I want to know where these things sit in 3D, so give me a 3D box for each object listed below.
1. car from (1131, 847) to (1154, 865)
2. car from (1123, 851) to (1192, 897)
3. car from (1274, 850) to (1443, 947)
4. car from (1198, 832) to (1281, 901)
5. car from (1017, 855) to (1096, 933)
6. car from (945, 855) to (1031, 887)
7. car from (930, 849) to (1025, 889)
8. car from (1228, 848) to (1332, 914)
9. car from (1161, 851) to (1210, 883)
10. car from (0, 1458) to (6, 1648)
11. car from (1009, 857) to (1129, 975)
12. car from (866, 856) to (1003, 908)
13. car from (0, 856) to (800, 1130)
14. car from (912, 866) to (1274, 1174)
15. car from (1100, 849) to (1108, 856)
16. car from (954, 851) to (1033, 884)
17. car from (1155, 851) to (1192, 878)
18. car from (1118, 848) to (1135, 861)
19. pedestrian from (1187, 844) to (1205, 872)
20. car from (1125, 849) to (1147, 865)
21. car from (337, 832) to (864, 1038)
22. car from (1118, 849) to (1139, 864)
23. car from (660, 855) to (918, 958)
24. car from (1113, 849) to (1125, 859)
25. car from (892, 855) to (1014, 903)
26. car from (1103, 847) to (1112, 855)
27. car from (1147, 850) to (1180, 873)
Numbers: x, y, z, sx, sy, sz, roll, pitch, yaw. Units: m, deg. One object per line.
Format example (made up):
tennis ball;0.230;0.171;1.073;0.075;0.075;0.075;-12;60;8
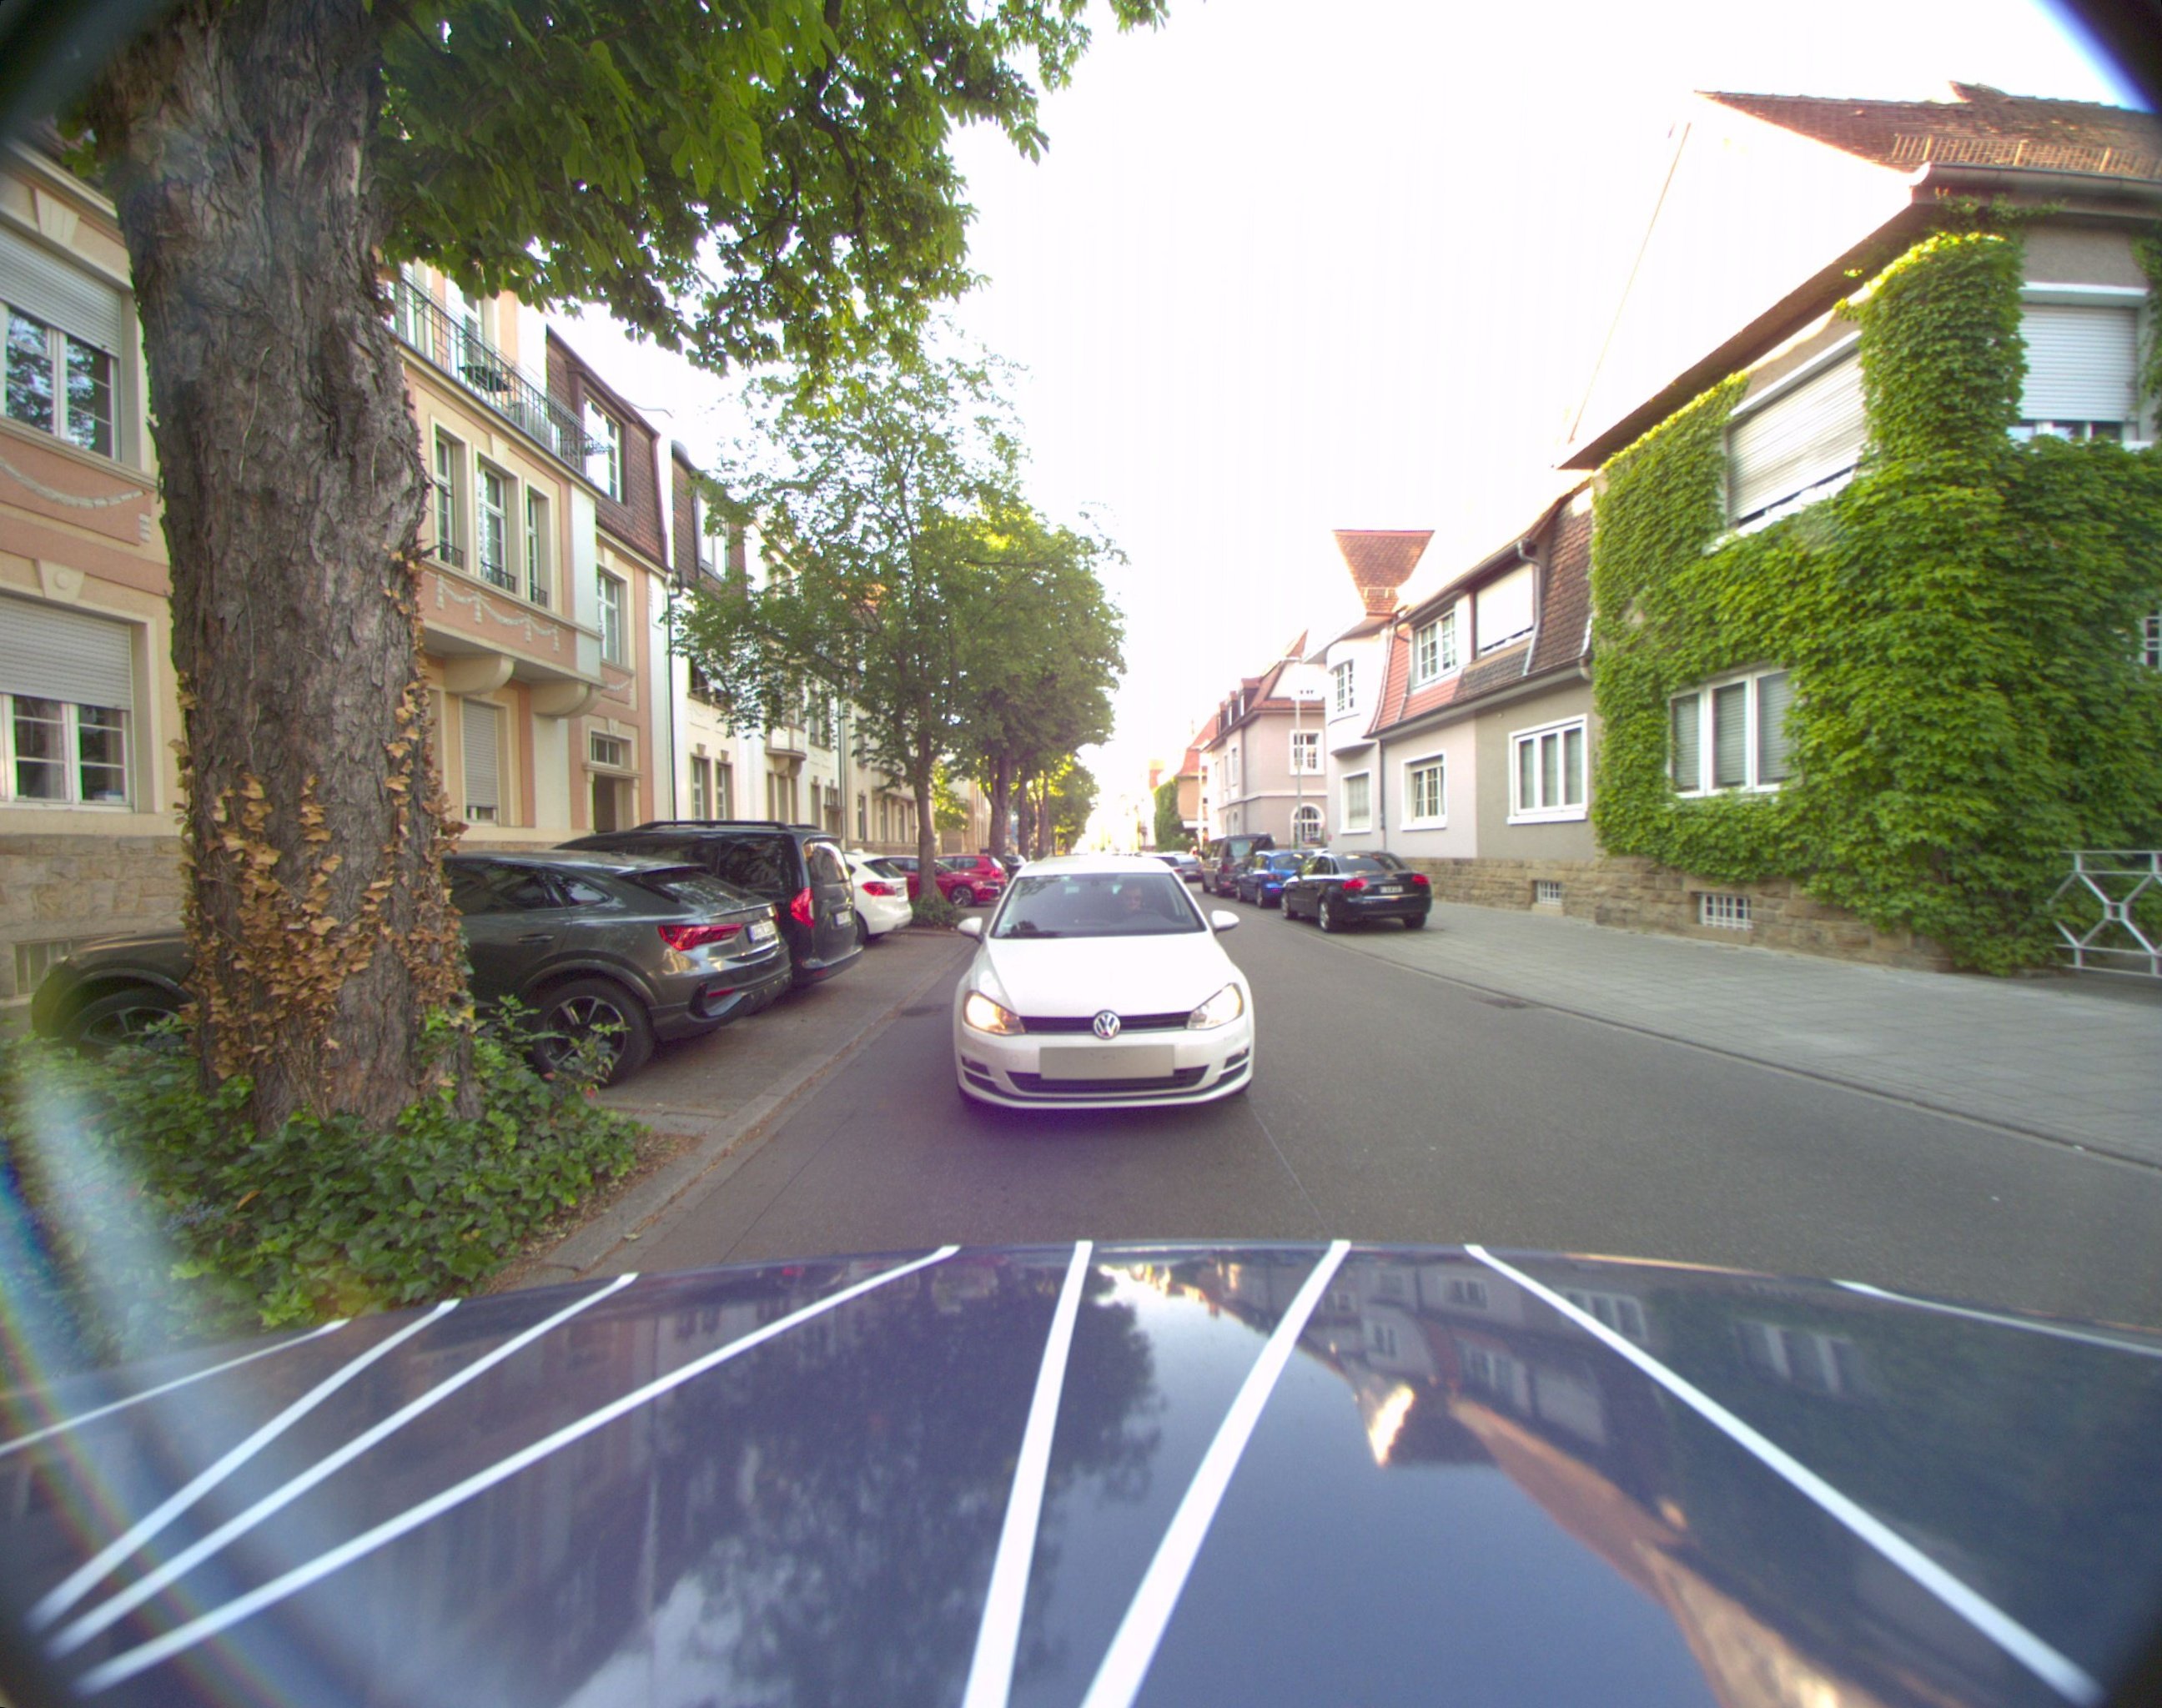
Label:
car;5.498;0.160;68.244;1.643;1.461;3.945;-3;0;0
car;2.655;0.667;27.259;1.786;1.453;4.298;1;0;-3
car;5.047;0.721;14.445;1.751;1.421;4.023;-4;1;1
car;5.137;0.343;25.241;1.719;1.961;4.310;-4;1;0
car;-0.470;0.809;17.154;1.560;1.546;3.738;1;0;1
car;-4.135;0.733;34.131;3.622;1.395;1.537;0;1;0
car;-4.167;0.587;30.937;3.622;1.555;1.537;0;1;0
car;5.198;0.641;20.350;1.611;1.455;4.023;-4;1;0
car;4.987;0.568;36.771;1.719;1.363;4.334;-3;0;0
car;-4.663;0.792;0.509;4.835;1.814;1.880;1;1;-4
car;-0.134;0.844;12.291;1.600;1.546;4.000;1;0;1
car;-4.141;0.785;21.803;3.622;1.395;1.537;1;1;0
car;-4.379;0.845;5.406;4.173;1.583;1.594;1;1;-4
car;0.024;0.877;5.899;1.799;1.420;4.023;-2;0;-1
car;5.174;-0.405;173.334;1.643;1.461;3.689;-3;0;0
car;-4.195;0.652;36.835;3.622;1.555;1.537;0;1;0
car;5.133;0.552;42.528;1.541;1.363;3.945;-3;0;0
car;5.405;0.067;91.197;1.643;1.461;3.689;-3;0;-1
pedestrian;8.352;0.281;55.104;1.188;2.002;0.931;1;1;4
car;5.430;0.307;75.262;1.643;1.461;3.688;-3;0;-4
car;-4.464;0.716;7.587;4.173;1.816;1.594;1;1;-4
car;5.041;0.257;80.599;1.643;1.461;3.688;-3;0;-4
car;-4.621;0.812;12.411;3.623;1.541;1.537;1;1;-4
car;5.732;0.003;115.850;1.643;1.461;3.689;-3;0;0
car;-4.040;0.773;24.334;3.622;1.456;1.537;1;1;0
car;5.255;-0.505;149.427;1.643;1.461;3.689;-3;0;0
car;5.451;0.477;50.710;1.719;1.363;3.945;-3;0;0
